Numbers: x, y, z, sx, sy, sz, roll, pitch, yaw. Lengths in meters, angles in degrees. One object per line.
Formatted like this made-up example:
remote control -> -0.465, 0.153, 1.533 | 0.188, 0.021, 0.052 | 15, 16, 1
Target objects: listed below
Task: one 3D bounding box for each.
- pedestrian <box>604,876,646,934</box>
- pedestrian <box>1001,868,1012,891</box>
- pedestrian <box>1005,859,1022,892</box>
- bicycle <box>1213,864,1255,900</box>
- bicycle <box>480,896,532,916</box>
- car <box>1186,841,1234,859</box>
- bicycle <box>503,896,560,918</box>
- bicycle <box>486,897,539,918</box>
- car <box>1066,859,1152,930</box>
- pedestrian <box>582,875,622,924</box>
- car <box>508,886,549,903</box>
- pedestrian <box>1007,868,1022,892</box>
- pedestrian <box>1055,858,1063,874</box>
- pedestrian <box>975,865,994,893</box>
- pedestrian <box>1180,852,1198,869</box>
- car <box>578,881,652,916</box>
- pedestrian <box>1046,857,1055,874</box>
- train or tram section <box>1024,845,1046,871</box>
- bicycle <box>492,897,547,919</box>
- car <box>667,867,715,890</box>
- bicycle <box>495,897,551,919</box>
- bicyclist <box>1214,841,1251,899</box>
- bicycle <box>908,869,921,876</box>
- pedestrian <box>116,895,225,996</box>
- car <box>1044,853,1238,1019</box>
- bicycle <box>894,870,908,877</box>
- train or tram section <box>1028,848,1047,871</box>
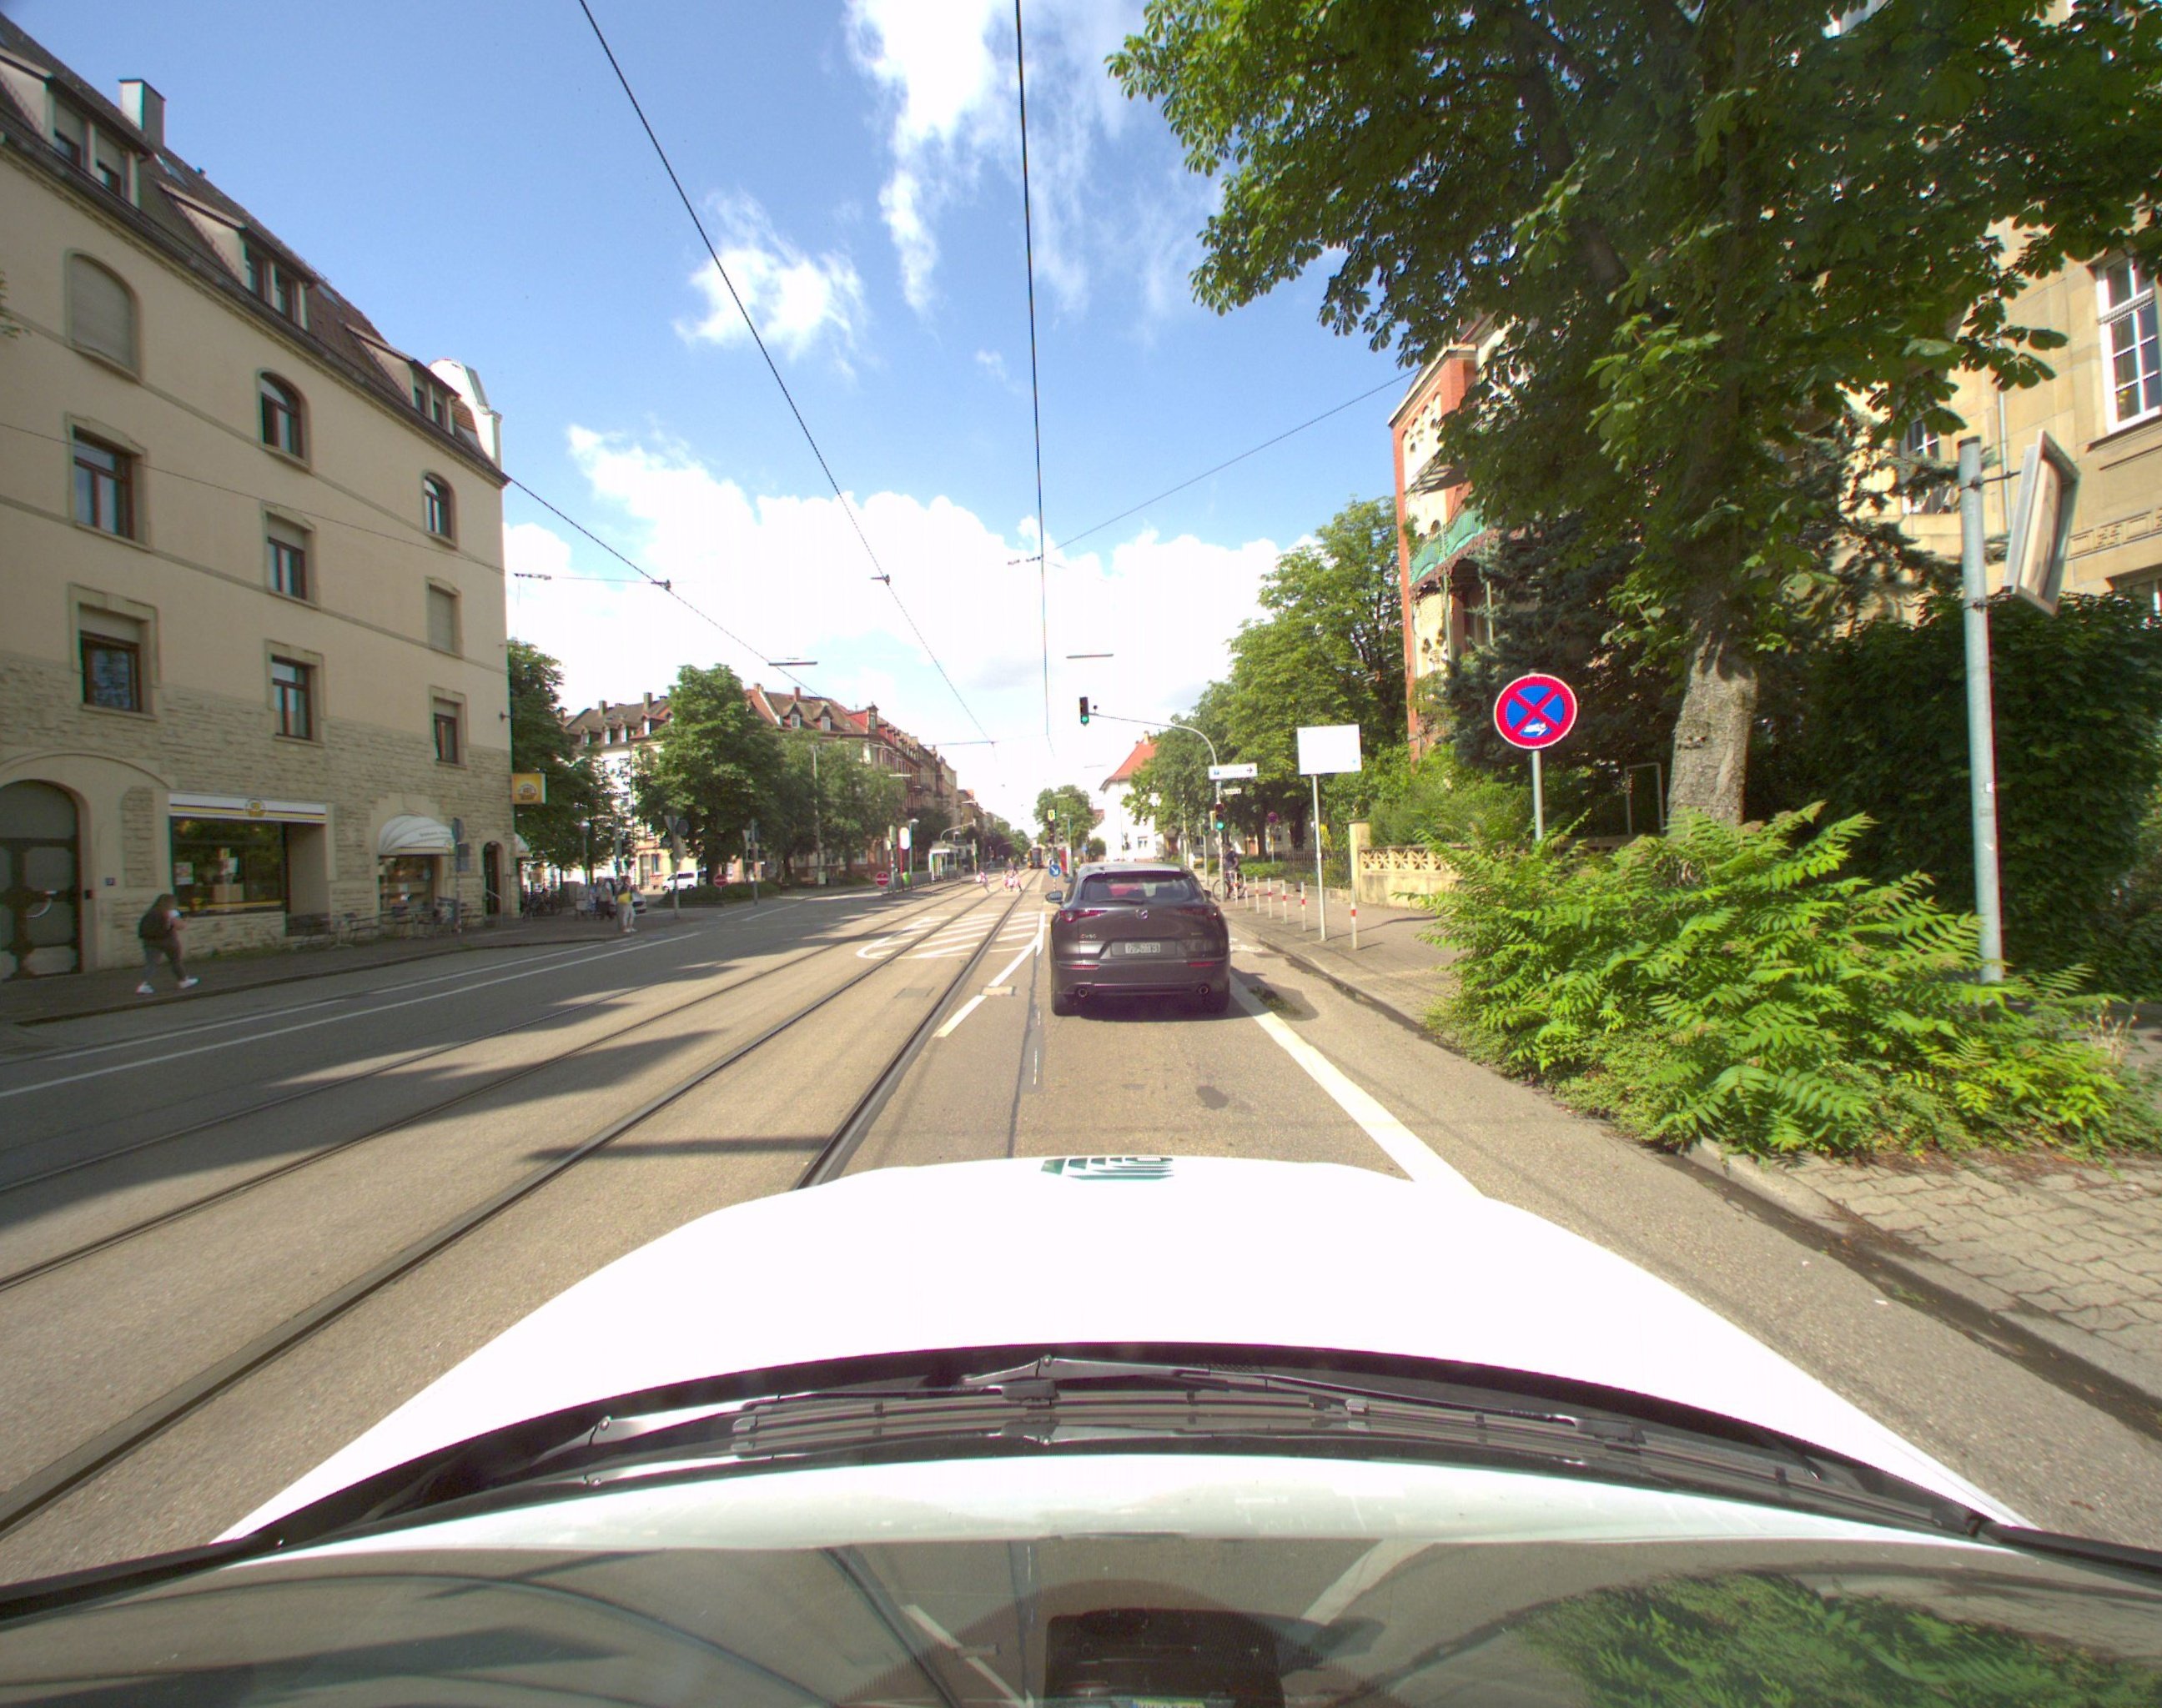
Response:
pedestrian -> -13.898, 1.530, 24.825 | 0.754, 1.704, 0.873 | 2, -1, -3
pedestrian -> -3.698, 1.271, 40.469 | 0.437, 1.108, 0.422 | -5, 0, -7
pedestrian -> -3.305, 1.036, 39.886 | 0.727, 1.565, 0.797 | -3, -1, -7
bicycle -> 4.953, 0.891, 26.285 | 0.385, 1.035, 1.857 | -3, 0, 42
bicycle -> -28.380, 2.564, 40.229 | 0.539, 0.882, 2.043 | -3, -2, 44
car -> 12.392, -0.384, 78.127 | 4.118, 1.510, 1.864 | -3, 1, 40
bicycle -> -24.447, 2.337, 36.271 | 0.516, 0.882, 2.043 | -3, -2, 44
bicycle -> -27.211, 2.545, 38.999 | 0.505, 0.882, 2.043 | -3, -2, 44
car -> 0.607, 0.863, 19.063 | 1.769, 1.464, 3.842 | -1, 0, 0
pedestrian -> -17.043, 1.618, 28.987 | 0.852, 1.672, 0.821 | -3, 0, -2
car -> -57.024, 4.155, 84.049 | 3.605, 1.494, 1.638 | -3, 0, 18
pedestrian -> -3.199, 1.233, 39.255 | 0.640, 1.114, 0.443 | -3, -1, -7
pedestrian -> -2.088, 1.127, 76.695 | 0.666, 1.546, 0.580 | -3, 0, -3
pedestrian -> -4.722, 1.203, 39.849 | 0.825, 1.303, 0.715 | -5, 0, -7
pedestrian -> 8.616, 0.508, 64.894 | 1.191, 1.269, 0.556 | -5, 0, -7
car -> -21.258, 2.011, 37.122 | 3.823, 1.420, 1.732 | -3, 0, 41
pedestrian -> -2.978, 1.104, 79.298 | 0.769, 1.674, 0.667 | -3, 0, -3
train or tram section -> -7.695, 0.817, 137.944 | 2.989, 3.983, 13.798 | -3, -1, -2
bicycle -> -26.237, 2.520, 38.085 | 0.505, 0.882, 2.043 | -3, -2, 44
car -> -37.272, 2.311, 77.817 | 3.901, 1.988, 1.866 | -2, 0, 21
bicycle -> -25.436, 2.454, 37.160 | 0.505, 0.882, 2.043 | -3, -2, 44
bicyclist -> 4.860, 0.510, 26.161 | 0.736, 1.819, 0.814 | -2, -1, -25
bicycle -> -19.272, 2.167, 94.172 | 0.381, 0.747, 1.722 | -3, 0, 34
pedestrian -> -14.915, 1.471, 13.367 | 0.693, 1.541, 0.960 | 2, -1, -9
car -> 0.624, 0.772, 9.497 | 1.775, 1.514, 4.002 | -1, -1, 2
bicycle -> -20.391, 2.207, 92.495 | 0.381, 0.747, 1.722 | -3, 0, 34
train or tram section -> -8.082, 1.078, 151.756 | 2.989, 3.983, 13.798 | -3, -1, -2
